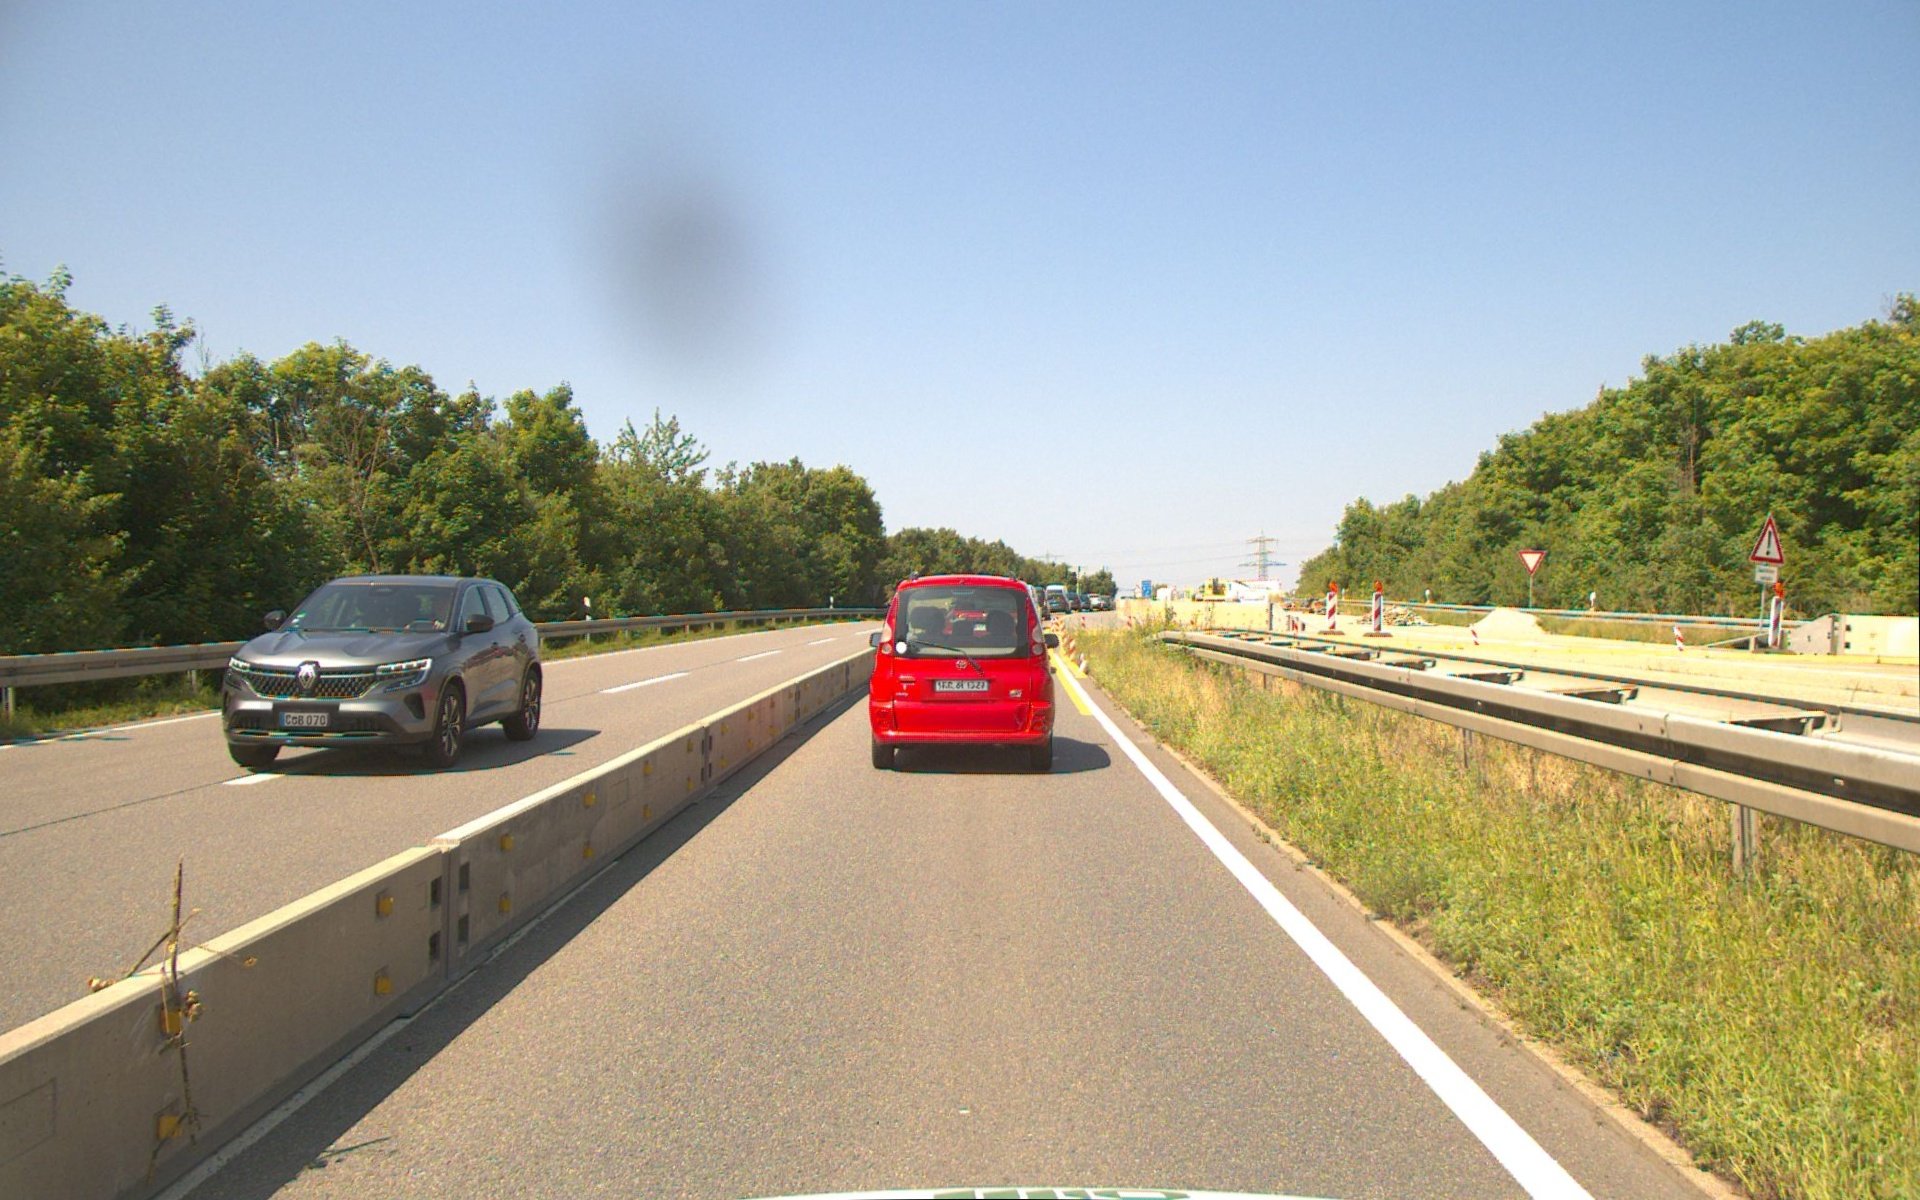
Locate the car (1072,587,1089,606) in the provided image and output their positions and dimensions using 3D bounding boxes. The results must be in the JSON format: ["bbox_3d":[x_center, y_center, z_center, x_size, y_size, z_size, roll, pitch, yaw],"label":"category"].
[{"bbox_3d":[11.218,-0.305,154.152,1.471,1.767,3.170,0,0,1],"label":"car"}]

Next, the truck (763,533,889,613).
[{"bbox_3d":[-9.434,-1.879,116.882,8.441,5.469,3.390,-1,0,2],"label":"truck"}]

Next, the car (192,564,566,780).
[{"bbox_3d":[-5.117,0.564,15.278,1.819,1.667,4.385,1,0,1],"label":"car"}]

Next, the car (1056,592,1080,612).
[{"bbox_3d":[9.178,0.169,140.491,1.951,1.612,4.002,0,0,4],"label":"car"}]

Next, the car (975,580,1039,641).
[{"bbox_3d":[1.501,0.311,52.440,1.952,1.870,4.001,0,0,2],"label":"car"}]

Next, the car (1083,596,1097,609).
[{"bbox_3d":[13.427,0.234,170.596,1.391,1.321,2.880,0,0,3],"label":"car"}]

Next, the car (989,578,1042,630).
[{"bbox_3d":[2.241,0.164,67.745,1.953,2.039,3.999,1,0,-1],"label":"car"}]

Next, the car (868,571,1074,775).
[{"bbox_3d":[0.105,0.611,15.829,1.716,1.702,4.000,0,0,0],"label":"car"}]

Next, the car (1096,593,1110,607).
[{"bbox_3d":[15.944,0.005,183.982,1.470,1.476,3.171,0,0,3],"label":"car"}]

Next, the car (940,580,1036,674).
[{"bbox_3d":[0.568,0.505,33.307,1.792,1.752,4.001,0,0,1],"label":"car"}]

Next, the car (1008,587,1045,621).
[{"bbox_3d":[3.651,0.226,91.326,1.952,1.780,4.001,1,0,2],"label":"car"}]

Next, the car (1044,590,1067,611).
[{"bbox_3d":[6.795,0.023,117.592,1.471,1.476,3.325,-1,0,1],"label":"car"}]

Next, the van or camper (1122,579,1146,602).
[{"bbox_3d":[20.750,-1.094,197.066,2.281,2.754,4.592,0,0,-1],"label":"van or camper"}]
